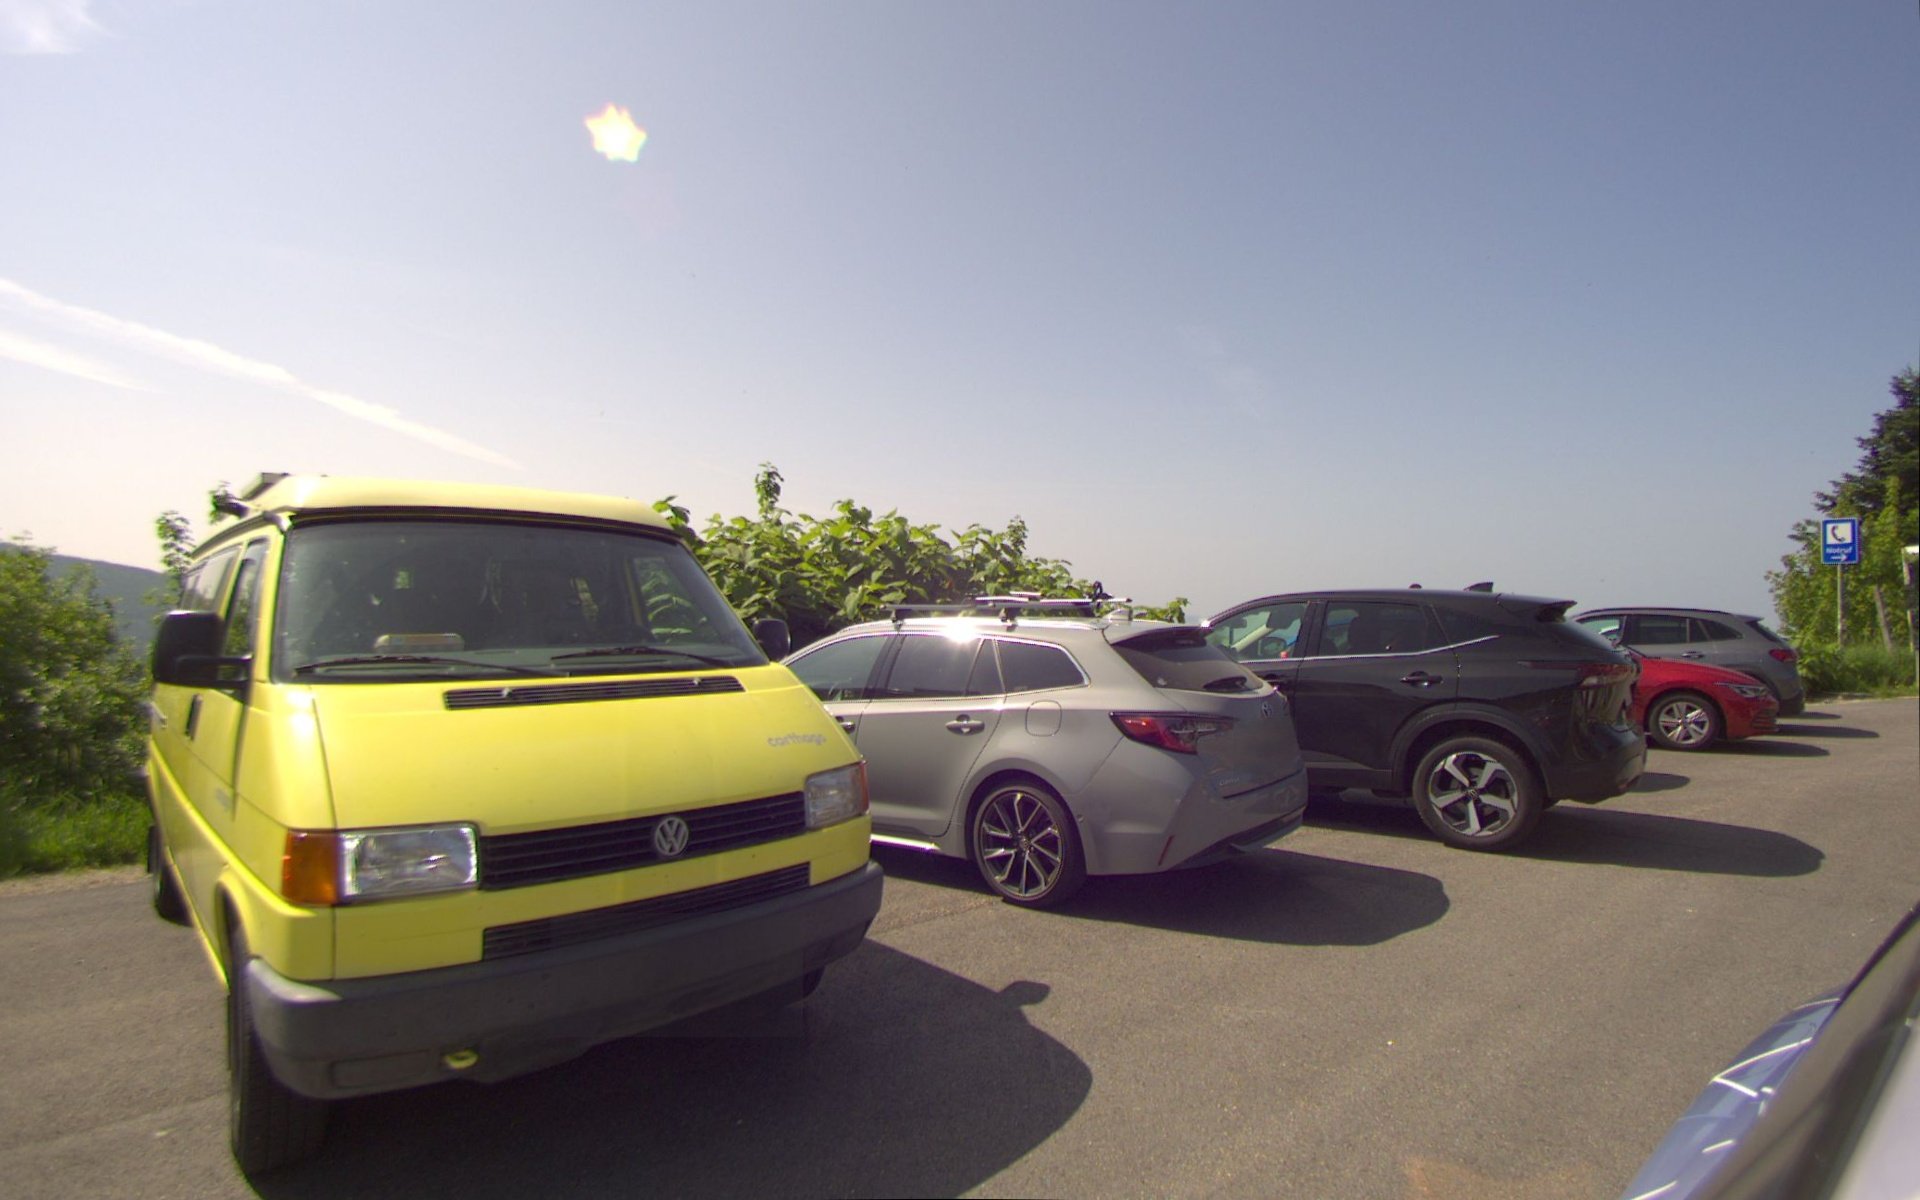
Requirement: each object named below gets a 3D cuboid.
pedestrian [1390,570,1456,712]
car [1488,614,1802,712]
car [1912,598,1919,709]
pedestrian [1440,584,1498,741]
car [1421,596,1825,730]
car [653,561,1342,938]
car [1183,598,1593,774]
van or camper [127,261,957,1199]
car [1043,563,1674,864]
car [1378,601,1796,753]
[{"bbox_3d":[6.506,0.564,14.229,0.608,1.924,0.668,-3,-2,42],"label":"pedestrian"},{"bbox_3d":[10.854,0.962,16.309,3.972,1.403,1.636,-2,-2,35],"label":"car"},{"bbox_3d":[16.266,0.766,14.049,4.072,1.638,1.984,0,-3,2],"label":"car"},{"bbox_3d":[5.870,0.701,11.656,0.501,1.747,0.561,-2,-2,31],"label":"pedestrian"},{"bbox_3d":[8.926,0.810,14.036,4.378,1.589,1.885,-2,-2,33],"label":"car"},{"bbox_3d":[-0.001,0.674,6.313,4.143,1.609,1.680,-1,-1,40],"label":"car"},{"bbox_3d":[4.316,0.807,10.557,3.581,1.515,1.621,-3,-3,45],"label":"car"},{"bbox_3d":[-2.397,0.445,4.523,1.849,2.040,5.095,1,-3,-42],"label":"van or camper"},{"bbox_3d":[2.789,0.646,7.505,3.979,1.634,1.890,-1,-1,39],"label":"car"},{"bbox_3d":[7.290,0.807,12.103,3.973,1.529,1.819,-1,-1,35],"label":"car"}]
